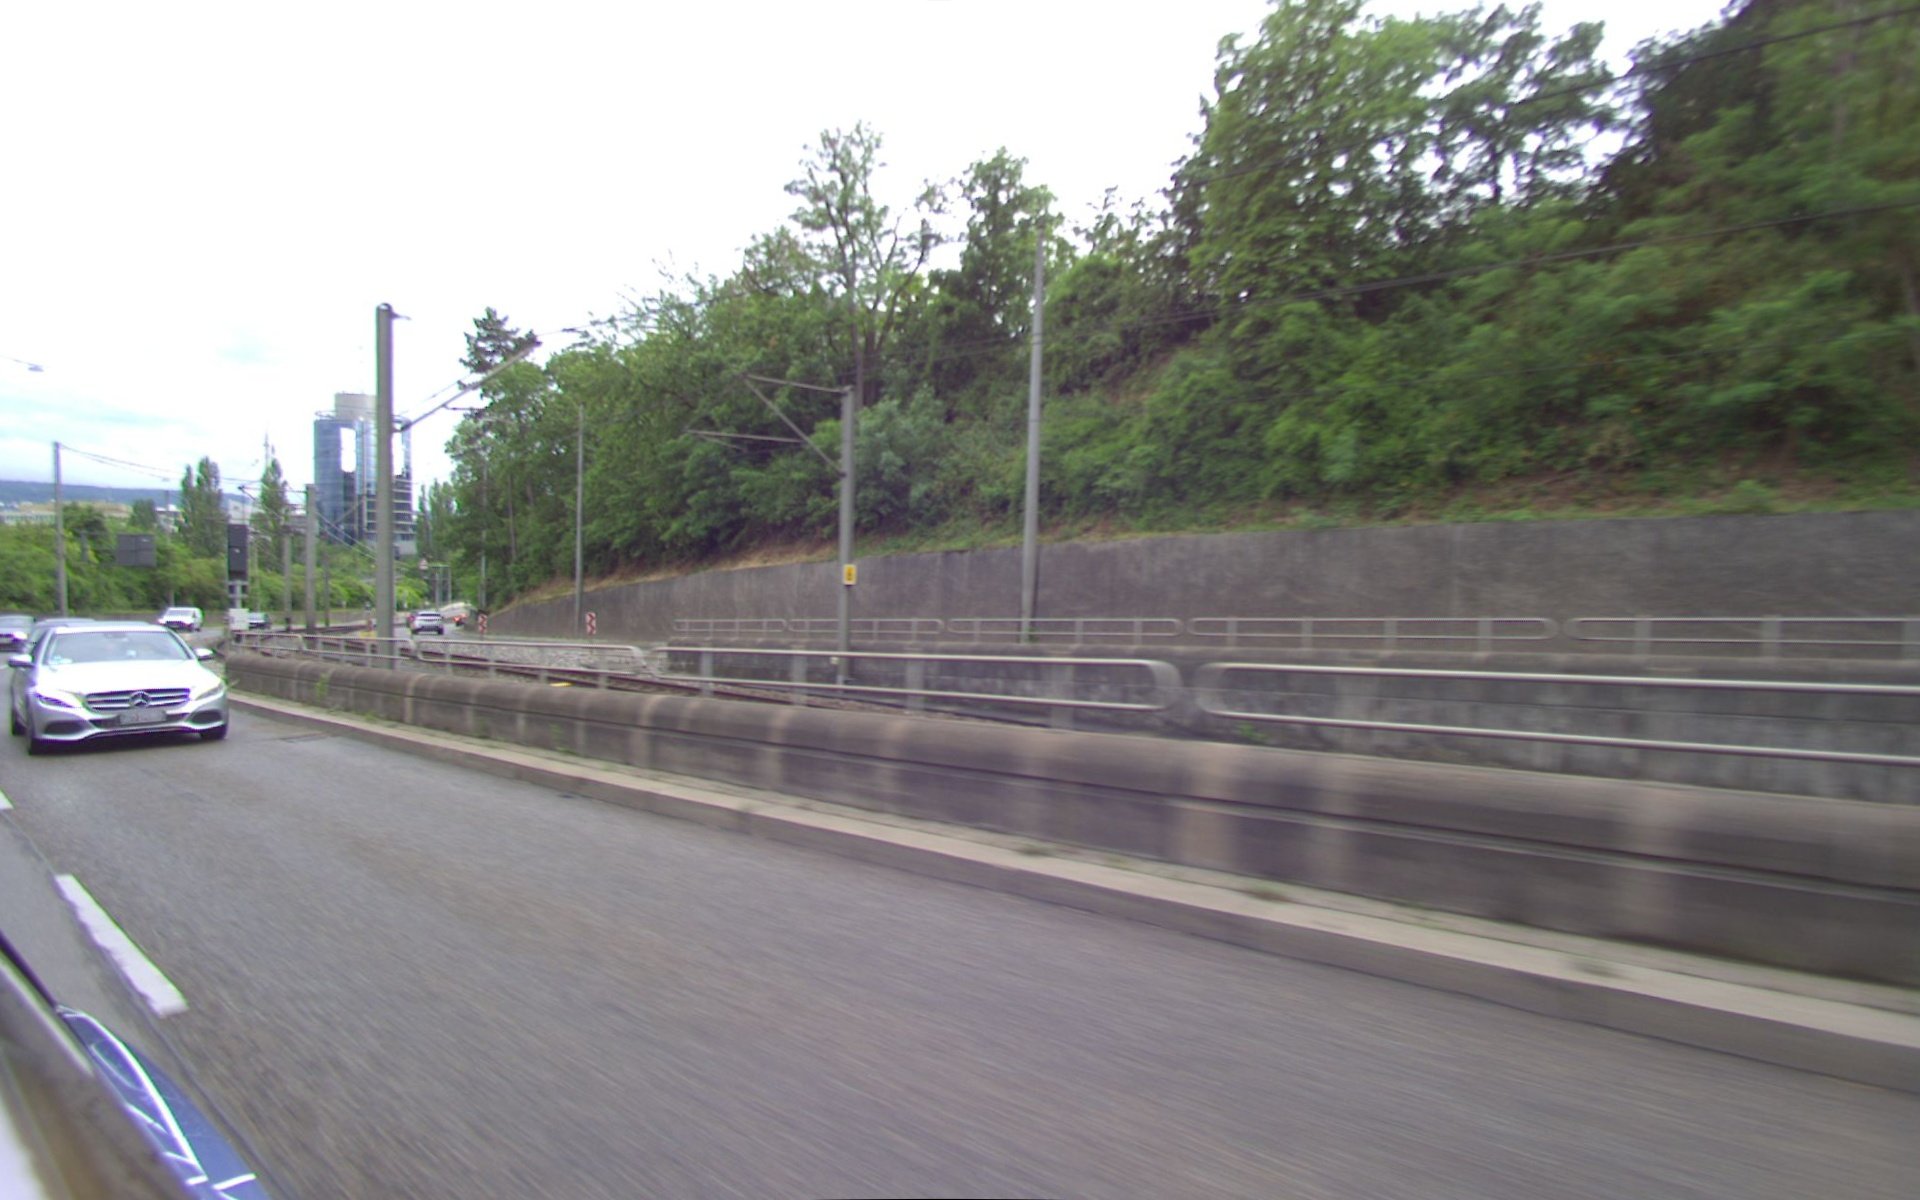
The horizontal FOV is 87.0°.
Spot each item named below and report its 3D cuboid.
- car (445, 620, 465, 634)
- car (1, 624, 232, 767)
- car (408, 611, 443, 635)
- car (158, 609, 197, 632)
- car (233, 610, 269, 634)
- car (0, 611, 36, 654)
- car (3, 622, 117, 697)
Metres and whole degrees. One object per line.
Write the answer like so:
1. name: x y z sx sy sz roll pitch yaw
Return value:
1. car: -58.691 3.133 117.668 1.799 1.482 4.428 2 -2 -23
2. car: -10.548 1.025 12.533 1.835 1.413 4.317 0 -1 -45
3. car: -38.775 1.632 73.350 1.908 1.696 4.420 1 -1 -32
4. car: -59.972 1.565 77.590 1.780 1.521 4.013 -2 2 -30
5. car: -62.821 1.965 89.697 1.965 2.029 4.509 0 -1 -27
6. car: -38.924 1.304 41.168 1.783 1.521 4.007 -2 3 -40
7. car: -19.543 1.228 22.097 1.703 1.482 3.894 1 -2 -40
